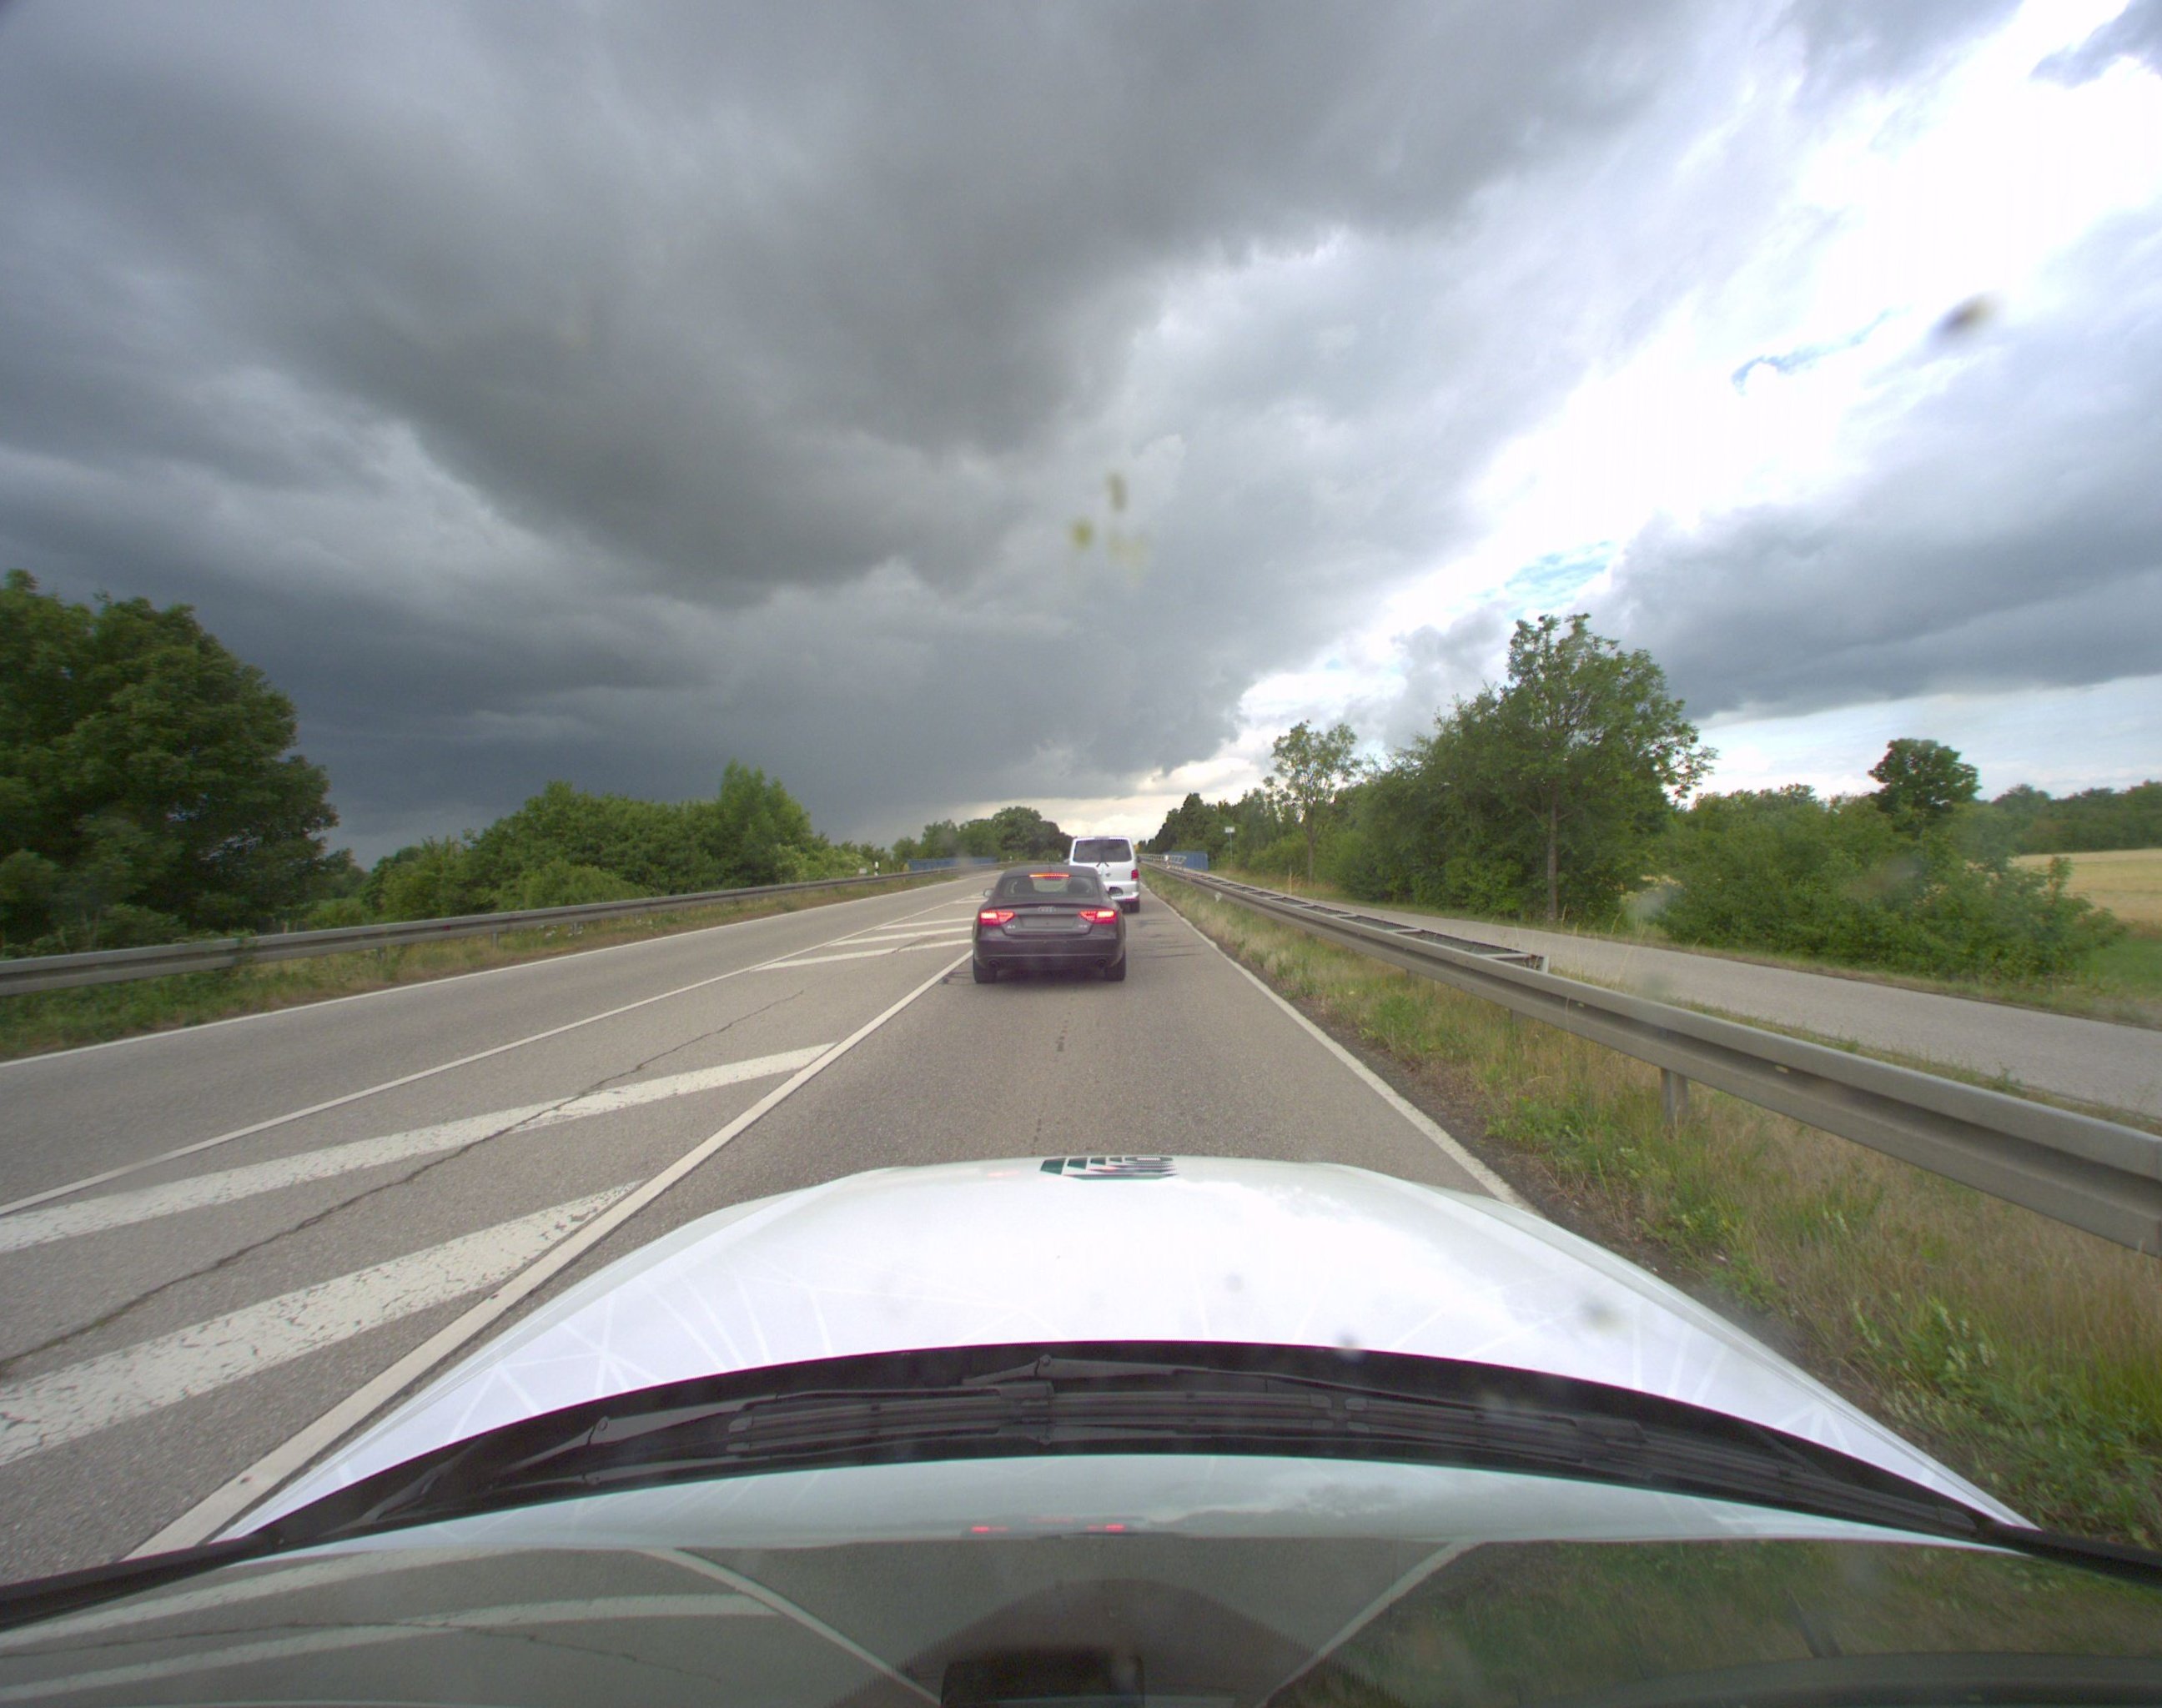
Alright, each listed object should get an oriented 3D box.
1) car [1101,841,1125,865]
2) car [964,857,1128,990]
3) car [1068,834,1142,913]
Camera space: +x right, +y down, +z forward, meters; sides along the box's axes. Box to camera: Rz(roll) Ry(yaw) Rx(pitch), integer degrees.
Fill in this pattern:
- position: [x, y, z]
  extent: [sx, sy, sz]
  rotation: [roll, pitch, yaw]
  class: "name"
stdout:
- position: [3.493, -0.114, 88.546]
  extent: [2.438, 2.504, 5.044]
  rotation: [-1, 0, 2]
  class: "car"
- position: [-0.323, 0.775, 10.856]
  extent: [1.779, 1.424, 4.001]
  rotation: [-1, -1, 2]
  class: "car"
- position: [0.633, 0.496, 21.816]
  extent: [1.779, 1.890, 4.001]
  rotation: [-1, -1, 2]
  class: "car"
